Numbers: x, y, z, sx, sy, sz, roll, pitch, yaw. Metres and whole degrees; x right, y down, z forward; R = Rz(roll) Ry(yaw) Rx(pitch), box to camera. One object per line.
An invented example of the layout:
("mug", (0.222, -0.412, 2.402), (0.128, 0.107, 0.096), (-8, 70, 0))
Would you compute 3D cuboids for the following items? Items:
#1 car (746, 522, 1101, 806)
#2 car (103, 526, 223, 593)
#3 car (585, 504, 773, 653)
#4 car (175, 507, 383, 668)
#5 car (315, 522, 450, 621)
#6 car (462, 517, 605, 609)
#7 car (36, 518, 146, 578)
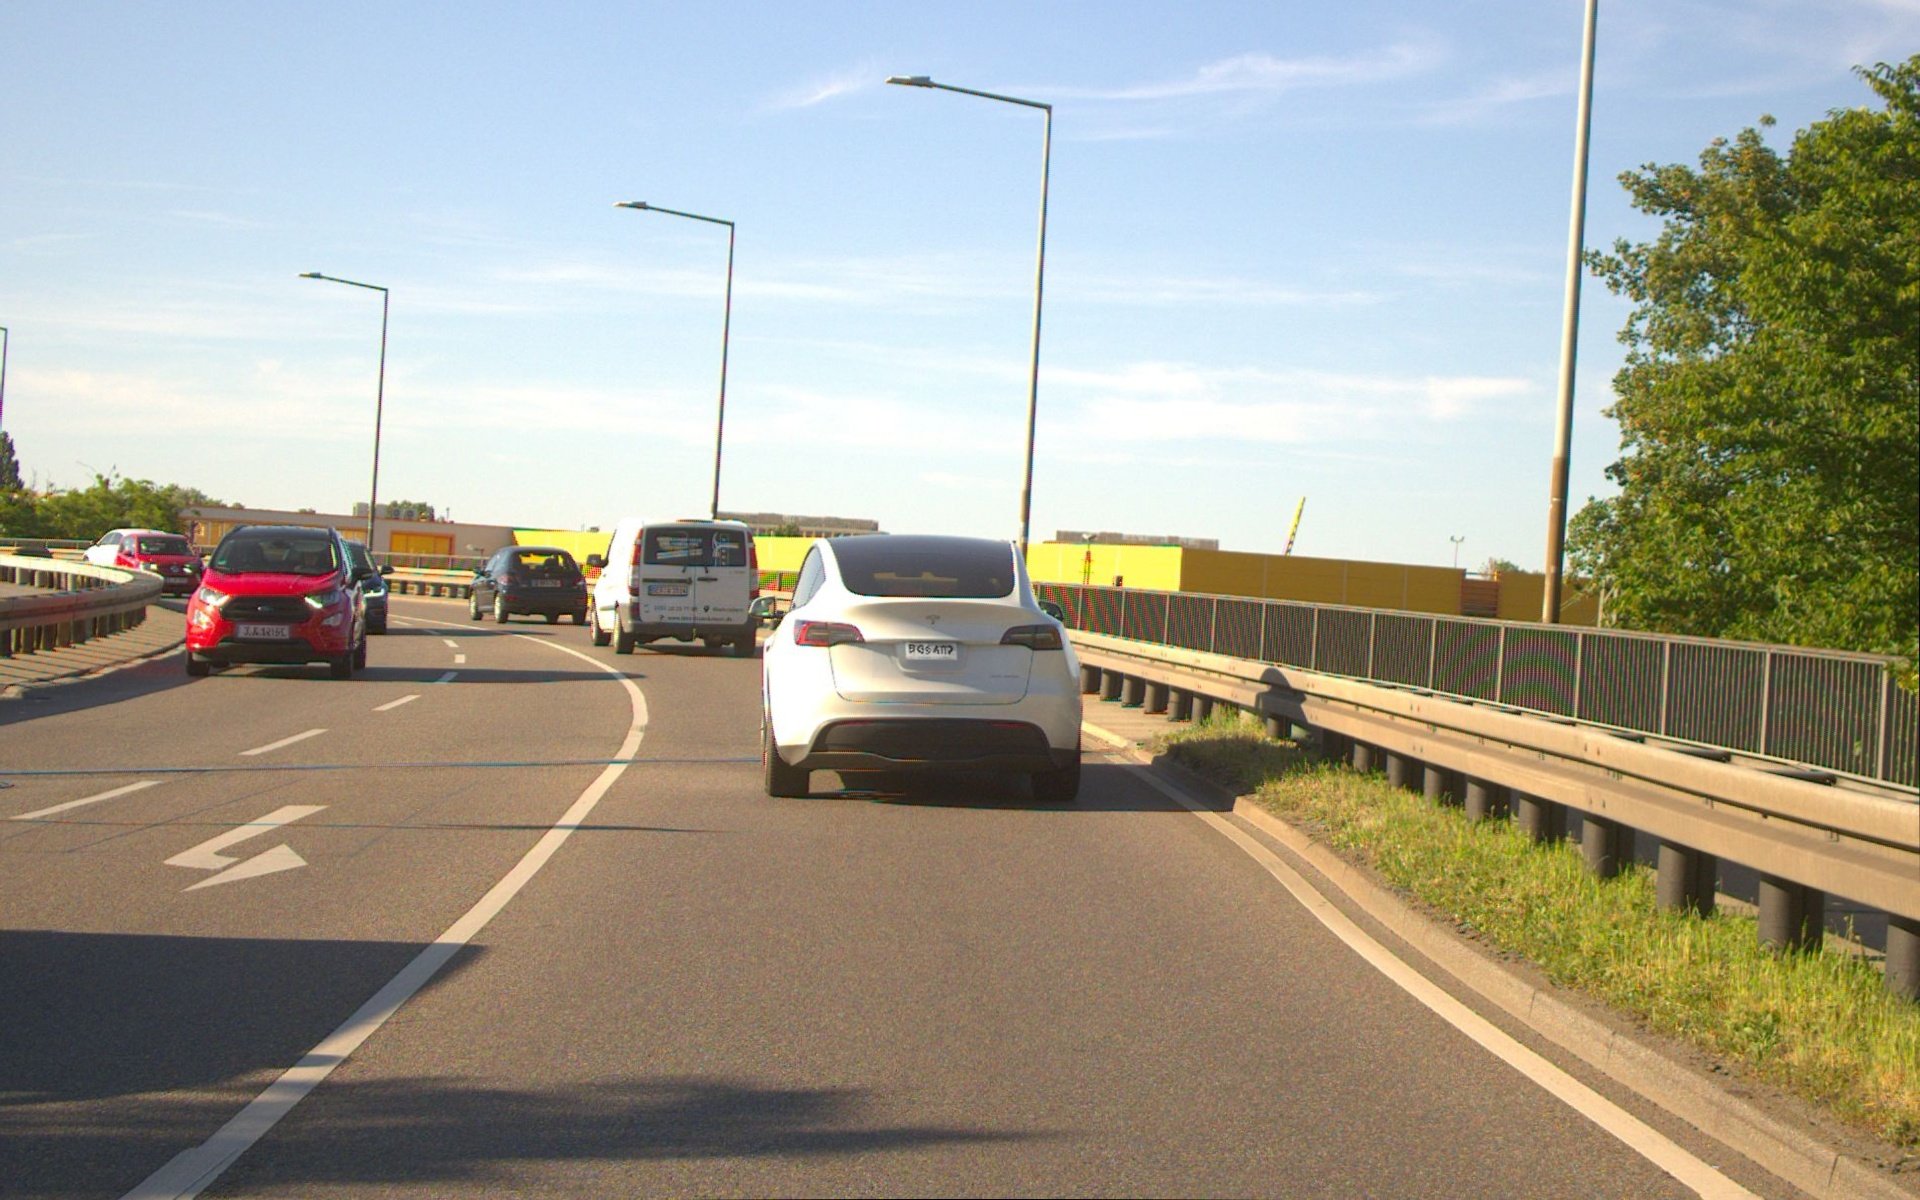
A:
("car", (-0.334, 0.338, 22.034), (1.985, 1.632, 4.063), (1, 1, -4))
("car", (-18.469, -0.948, 79.592), (1.781, 1.432, 3.876), (1, 1, -27))
("car", (-3.978, -0.332, 48.007), (2.004, 1.934, 4.469), (2, 1, -12))
("car", (-7.463, -0.169, 37.972), (1.804, 1.632, 4.001), (2, 1, -5))
("car", (-9.276, -0.483, 55.462), (1.724, 1.481, 4.408), (1, 1, -4))
("car", (-7.927, -0.694, 63.621), (1.968, 1.632, 4.001), (0, 1, -17))
("car", (-24.926, -1.500, 98.521), (1.859, 1.579, 3.914), (1, 1, -33))
